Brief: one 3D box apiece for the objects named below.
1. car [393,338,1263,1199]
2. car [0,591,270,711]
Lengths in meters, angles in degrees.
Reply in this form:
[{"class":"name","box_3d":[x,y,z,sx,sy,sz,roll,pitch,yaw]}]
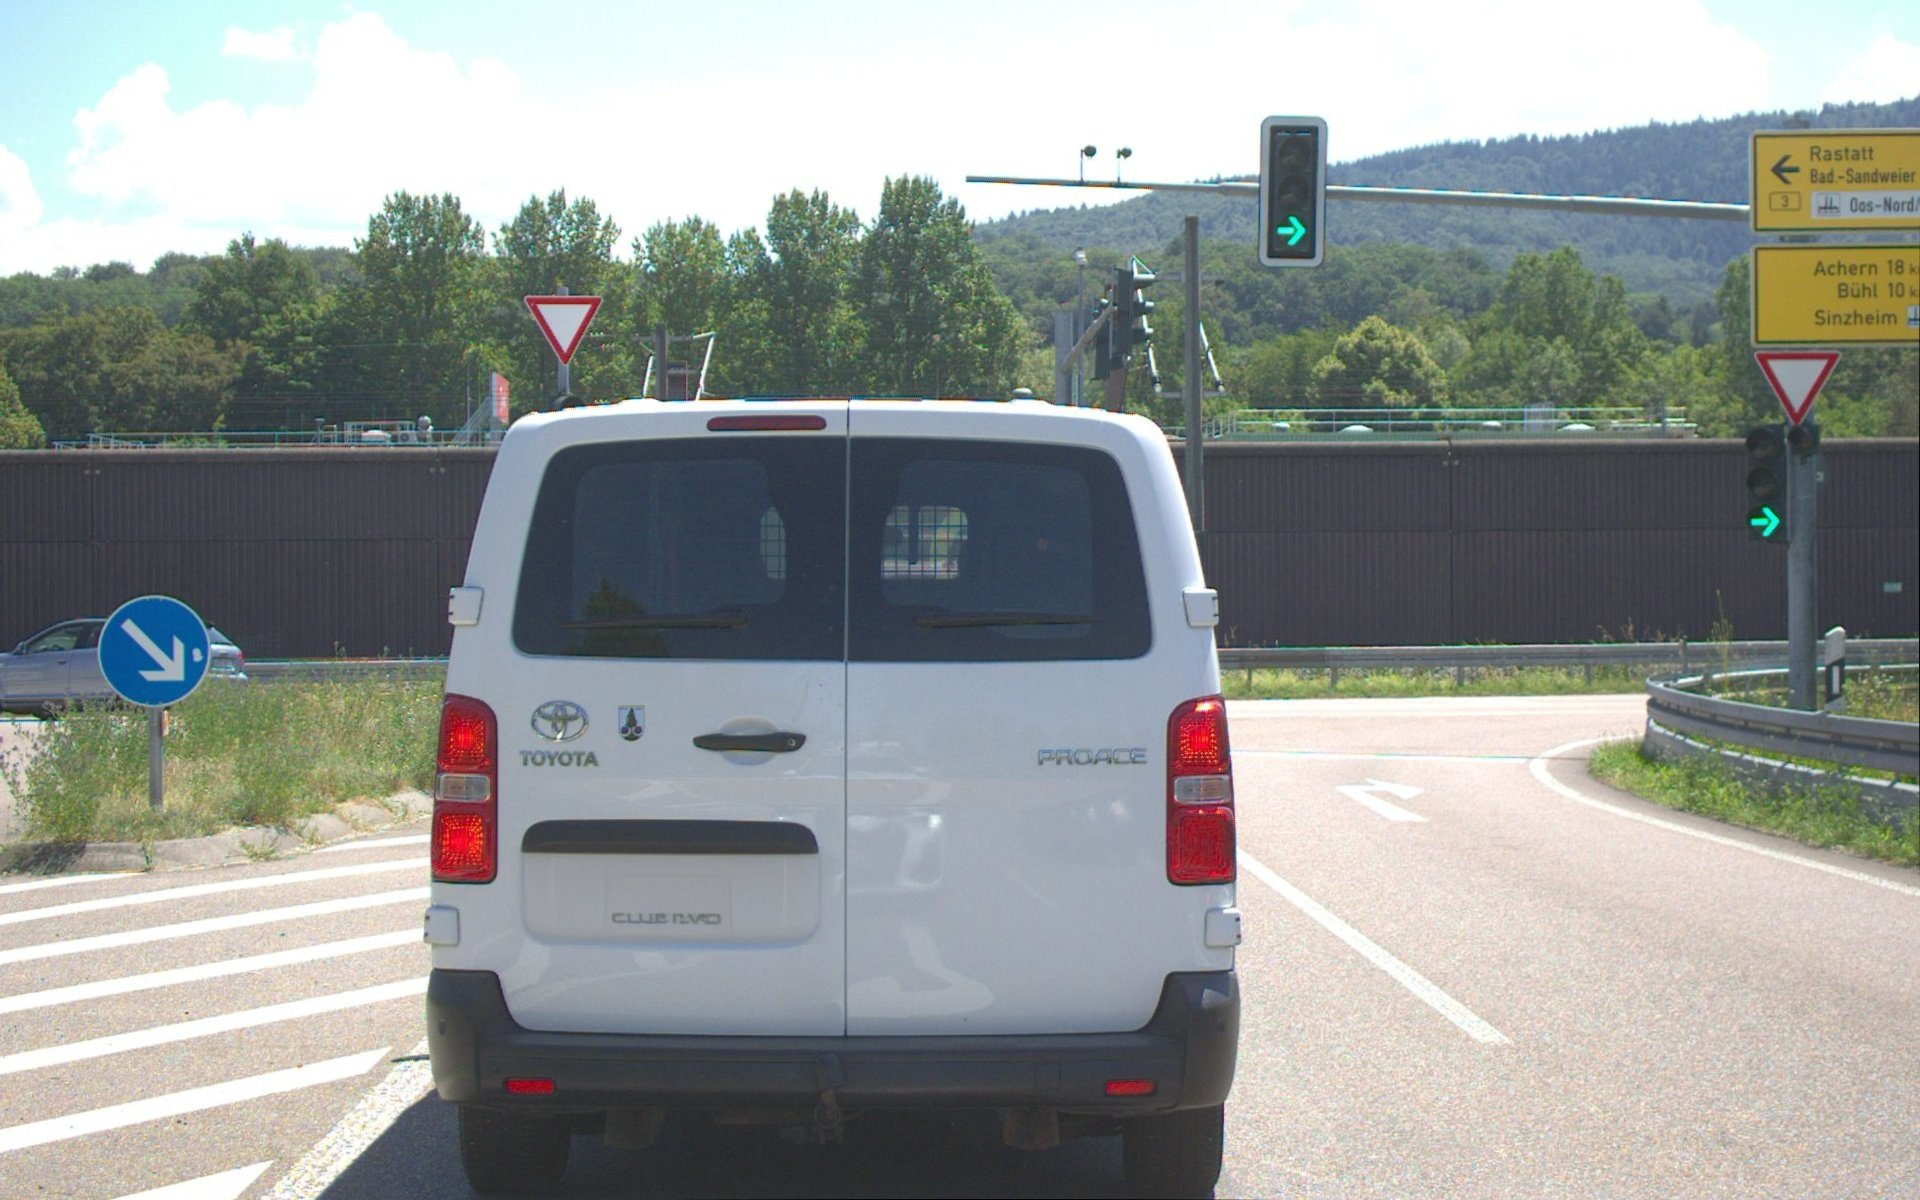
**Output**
[{"class":"car","box_3d":[-0.302,0.449,9.192,1.814,2.011,4.000,0,0,-1]},{"class":"car","box_3d":[-11.601,0.663,46.547,3.991,1.547,1.998,0,0,22]}]
